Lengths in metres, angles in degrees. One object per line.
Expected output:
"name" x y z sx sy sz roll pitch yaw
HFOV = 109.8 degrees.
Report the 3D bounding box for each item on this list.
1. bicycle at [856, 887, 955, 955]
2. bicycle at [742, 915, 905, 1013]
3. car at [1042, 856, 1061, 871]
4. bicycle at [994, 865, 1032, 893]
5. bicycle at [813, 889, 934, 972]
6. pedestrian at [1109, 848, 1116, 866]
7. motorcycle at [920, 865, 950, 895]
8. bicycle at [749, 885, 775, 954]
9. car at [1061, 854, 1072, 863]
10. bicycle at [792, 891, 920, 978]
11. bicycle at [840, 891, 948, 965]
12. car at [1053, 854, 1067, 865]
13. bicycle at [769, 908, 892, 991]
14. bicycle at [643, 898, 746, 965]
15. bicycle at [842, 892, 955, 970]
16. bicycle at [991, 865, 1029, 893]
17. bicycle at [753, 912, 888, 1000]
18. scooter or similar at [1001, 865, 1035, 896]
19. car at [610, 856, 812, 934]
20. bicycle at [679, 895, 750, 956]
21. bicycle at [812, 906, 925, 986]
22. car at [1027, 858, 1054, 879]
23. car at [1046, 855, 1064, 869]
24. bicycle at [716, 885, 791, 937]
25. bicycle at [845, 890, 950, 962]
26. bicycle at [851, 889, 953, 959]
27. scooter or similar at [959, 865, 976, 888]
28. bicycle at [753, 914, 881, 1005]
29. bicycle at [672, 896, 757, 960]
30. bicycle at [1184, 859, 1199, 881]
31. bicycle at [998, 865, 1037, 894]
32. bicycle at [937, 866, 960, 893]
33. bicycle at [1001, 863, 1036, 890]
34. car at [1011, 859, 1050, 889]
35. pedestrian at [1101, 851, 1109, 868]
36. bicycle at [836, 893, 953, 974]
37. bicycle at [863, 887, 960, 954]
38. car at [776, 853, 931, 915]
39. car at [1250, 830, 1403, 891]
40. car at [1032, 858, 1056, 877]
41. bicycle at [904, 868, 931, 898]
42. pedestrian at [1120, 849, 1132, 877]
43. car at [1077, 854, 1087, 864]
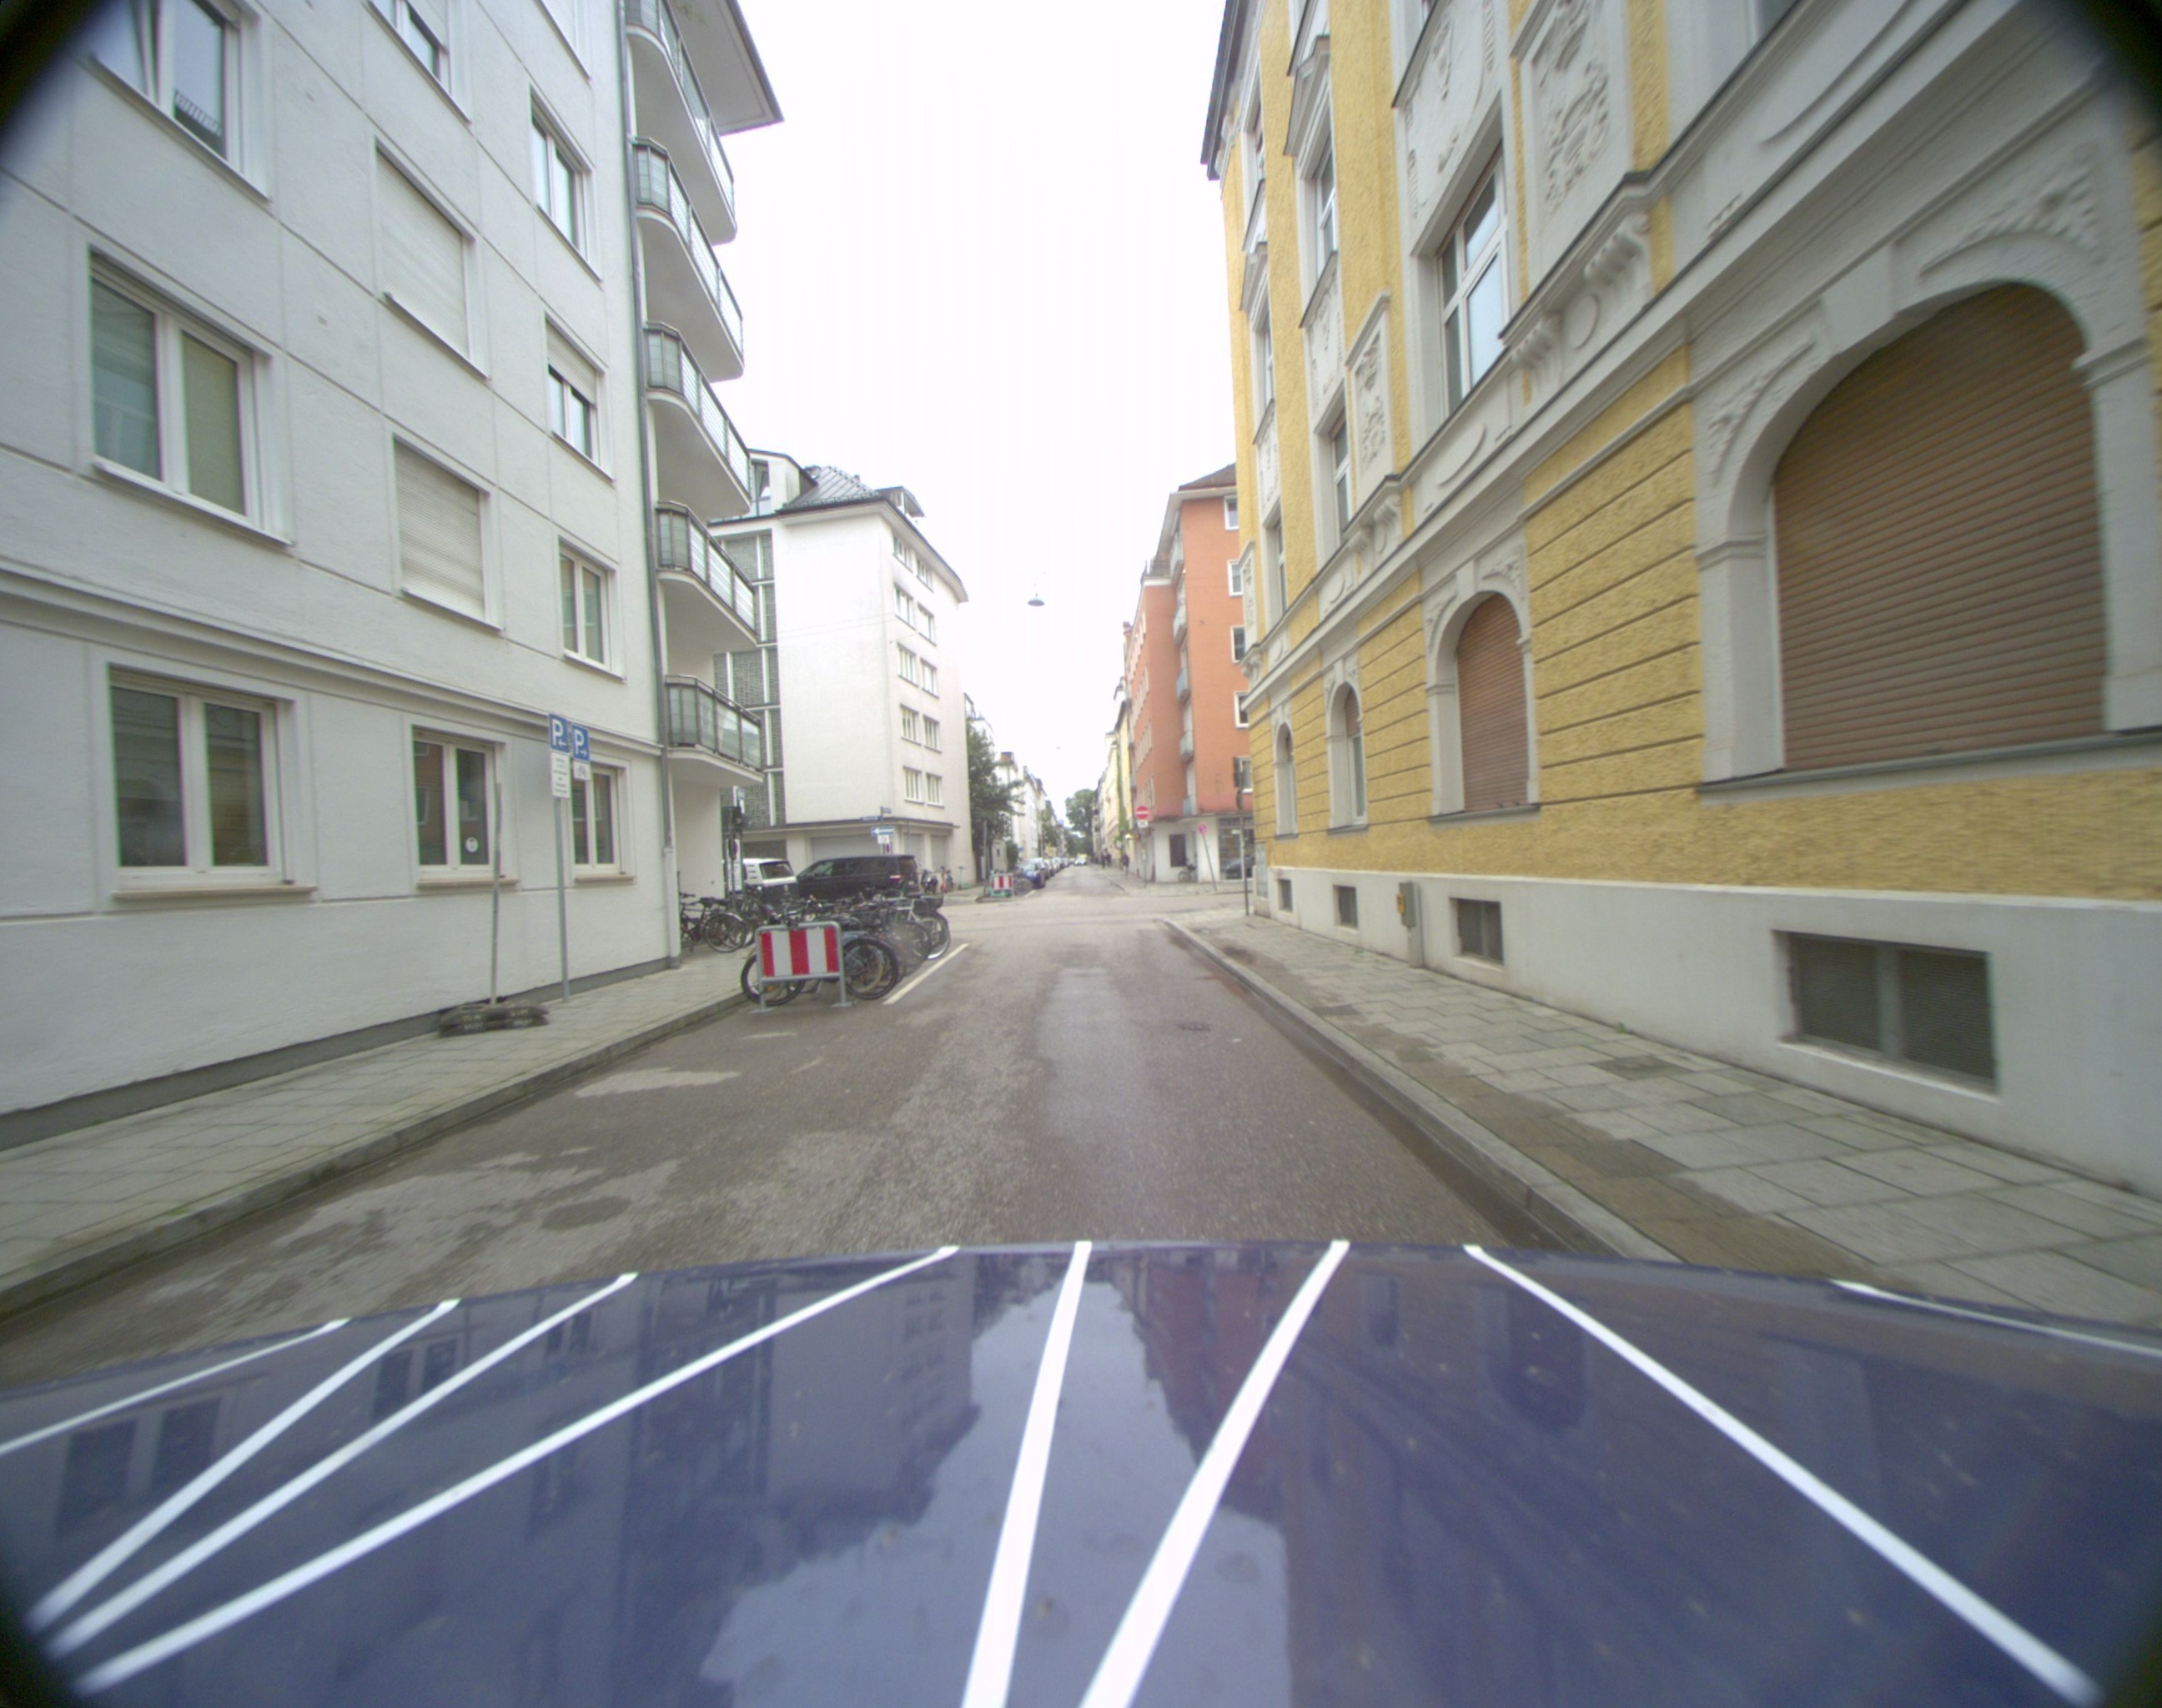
"bicycle" -3.231 1.239 14.062 1.699 1.154 0.313 -3 1 -1
"bicycle" -2.900 1.238 8.607 1.707 1.037 0.360 -1 1 1
"car" -2.942 0.912 76.322 1.654 1.390 4.000 -3 0 0
"bicycle" -3.044 1.120 34.099 1.608 1.207 0.529 -3 1 3
"bicycle" -3.126 1.150 11.518 1.666 1.154 0.378 -3 1 -1
"pedestrian" 3.260 0.334 78.920 0.699 1.783 0.763 -3 1 1
"motorcycle" -6.518 1.158 33.954 0.660 1.225 1.937 -2 0 8
"bicycle" -6.184 1.242 14.703 0.399 1.197 1.503 -1 1 -24
"car" -2.535 0.816 133.105 1.654 1.390 4.000 -3 0 0
"bicycle" -3.272 1.163 11.107 1.699 1.154 0.378 -3 1 -1
"bicycle" -3.179 1.257 12.966 1.699 1.154 0.378 -3 1 -1
"car" -2.711 0.711 98.467 1.654 1.390 4.000 -3 0 0
"bicycle" -3.287 1.243 9.987 1.520 1.037 0.360 -1 1 8
"bicycle" -6.509 1.292 12.855 1.502 1.037 0.398 -1 1 -18
"bicycle" -2.962 1.245 12.393 1.699 1.154 0.378 -3 1 -1
"bicycle" -3.245 1.124 34.662 1.608 1.207 0.529 -3 1 3
"bicycle" -3.231 1.246 9.436 1.590 1.037 0.323 -1 1 9
"scooter or similar" -2.661 1.116 32.100 1.340 1.207 0.344 -3 1 3
"car" -10.087 1.094 20.871 4.615 1.862 1.935 -3 0 8
"bicycle" -6.768 1.313 14.059 1.129 1.037 0.398 -1 1 -18
"bicycle" -2.877 1.233 10.324 1.441 1.037 0.360 -1 1 8
"car" -2.899 1.030 54.780 1.654 1.390 4.000 -3 0 0
"car" -2.818 0.824 82.996 1.654 1.390 4.000 -3 0 0
"bicycle" -7.853 1.363 18.240 1.607 1.207 0.472 -1 1 9
"bicycle" -3.216 1.256 13.364 1.699 1.154 0.378 -3 1 -1
"bicycle" -3.223 1.260 13.733 1.699 1.154 0.313 -3 1 -1
"scooter or similar" -5.835 1.148 39.075 0.406 1.160 1.494 -2 0 8
"bicycle" -3.147 1.244 9.074 1.438 1.037 0.330 -1 1 8
"bicycle" -6.464 1.289 13.451 1.296 1.037 0.398 -1 1 -18
"bicycle" 5.002 0.704 34.436 0.471 0.923 1.513 -3 0 1
"bicycle" -2.813 1.114 33.527 1.608 1.207 0.529 -3 1 3
"bicycle" -6.274 1.195 36.021 0.528 1.207 1.610 -2 0 8
"bicycle" -3.043 1.100 37.079 1.608 1.207 0.529 -3 1 3
"car" -2.601 1.004 39.923 1.654 1.390 4.000 -3 0 0
"pedestrian" 2.492 0.590 78.913 0.726 1.783 0.830 -3 1 0
"bicycle" -2.923 1.246 11.994 1.699 1.154 0.378 -3 1 -1
"bicycle" -3.218 1.255 14.468 1.699 1.154 0.418 -3 1 -1
"car" -7.764 1.015 26.142 4.676 1.880 1.935 -3 0 8
"car" 8.471 0.261 26.583 4.678 1.835 1.935 -2 -3 4
"car" -2.927 1.041 60.045 1.654 1.390 4.000 -1 0 0
"bicycle" -6.885 1.213 32.095 0.528 1.207 1.610 -2 0 8
"pedestrian" 2.764 0.547 46.628 0.613 1.684 0.566 -3 1 -1
"car" 0.192 1.086 162.711 1.999 2.002 4.646 -3 0 0
